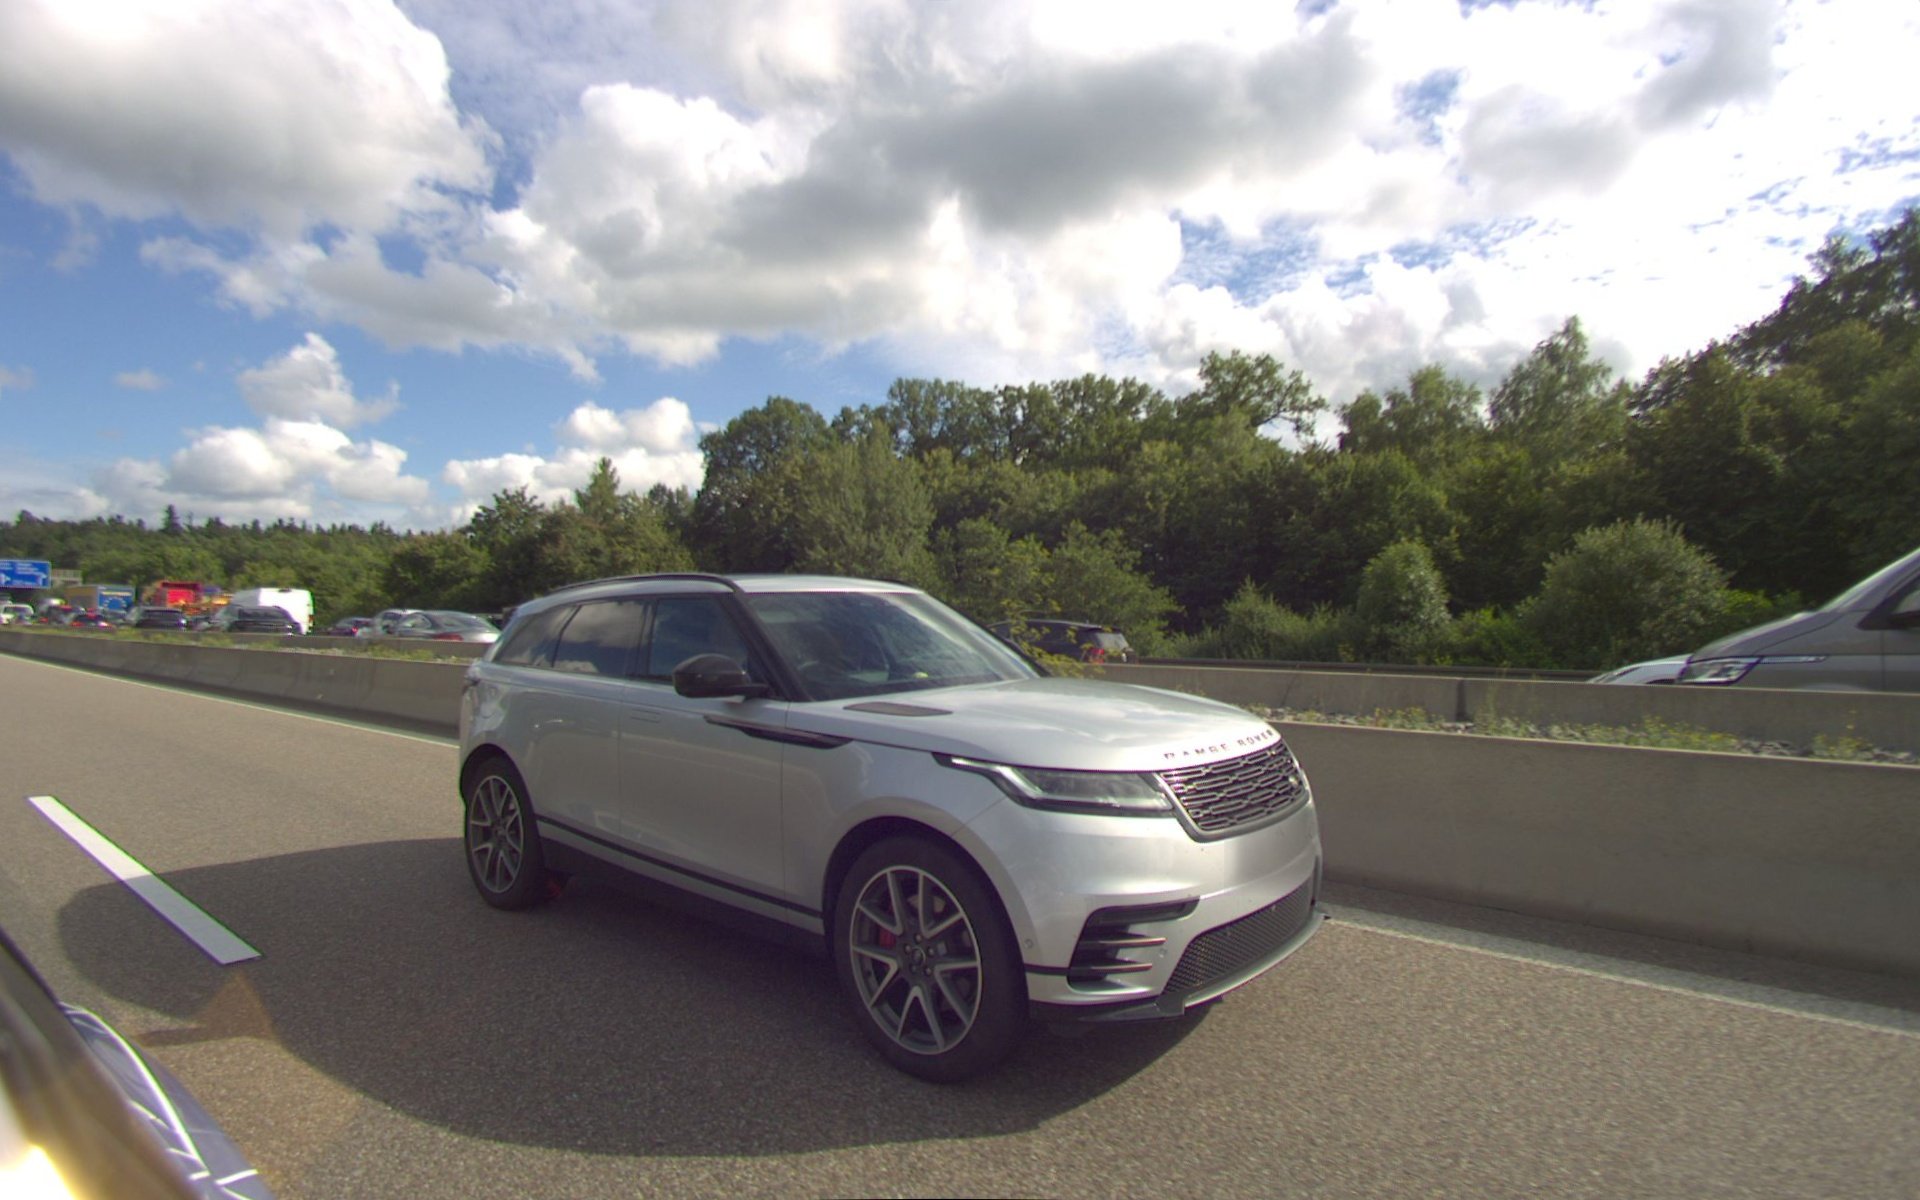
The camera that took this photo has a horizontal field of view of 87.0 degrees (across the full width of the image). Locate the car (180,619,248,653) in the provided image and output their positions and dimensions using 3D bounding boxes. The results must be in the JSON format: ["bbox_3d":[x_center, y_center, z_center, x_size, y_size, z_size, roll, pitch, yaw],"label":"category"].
[{"bbox_3d":[-38.019,1.793,51.523,4.426,1.547,1.972,1,1,42],"label":"car"}]

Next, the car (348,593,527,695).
[{"bbox_3d":[-11.730,0.923,22.547,5.090,2.029,1.885,-1,-2,42],"label":"car"}]

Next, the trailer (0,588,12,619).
[{"bbox_3d":[-131.358,0.348,136.943,15.997,4.004,2.801,1,1,41],"label":"trailer"}]

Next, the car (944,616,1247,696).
[{"bbox_3d":[1.891,0.755,14.833,3.999,0.977,1.972,-1,-1,42],"label":"car"}]

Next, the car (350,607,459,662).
[{"bbox_3d":[-18.294,1.064,33.256,3.999,1.608,1.972,1,1,42],"label":"car"}]

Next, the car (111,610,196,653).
[{"bbox_3d":[-32.327,1.256,40.526,4.286,1.603,1.817,-1,-3,40],"label":"car"}]

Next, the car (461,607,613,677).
[{"bbox_3d":[-11.178,1.023,26.584,4.523,1.608,1.972,1,1,42],"label":"car"}]

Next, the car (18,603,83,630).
[{"bbox_3d":[-49.720,0.894,55.279,6.228,1.359,1.796,-1,0,40],"label":"car"}]

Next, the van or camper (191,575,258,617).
[{"bbox_3d":[-57.097,-0.271,78.466,7.190,3.100,2.546,0,0,40],"label":"van or camper"}]

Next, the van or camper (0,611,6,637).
[{"bbox_3d":[-109.376,2.684,114.158,5.749,2.731,2.024,1,1,42],"label":"van or camper"}]

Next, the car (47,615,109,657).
[{"bbox_3d":[-43.130,1.711,49.450,4.293,1.829,1.670,1,1,40],"label":"car"}]

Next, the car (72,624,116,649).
[{"bbox_3d":[-57.411,2.394,67.070,3.997,1.603,1.619,-1,0,40],"label":"car"}]

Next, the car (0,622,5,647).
[{"bbox_3d":[-74.485,2.630,77.371,4.293,1.829,1.670,1,1,40],"label":"car"}]

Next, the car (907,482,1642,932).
[{"bbox_3d":[1.776,0.505,6.451,3.999,1.935,1.972,-2,-1,42],"label":"car"}]

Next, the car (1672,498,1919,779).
[{"bbox_3d":[7.005,0.188,5.591,4.814,1.584,1.972,-1,-1,42],"label":"car"}]

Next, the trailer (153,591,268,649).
[{"bbox_3d":[-47.911,1.282,64.395,14.208,3.361,2.700,-1,-1,40],"label":"trailer"}]

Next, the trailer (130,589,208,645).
[{"bbox_3d":[-67.826,1.264,86.612,14.037,4.150,2.780,2,2,41],"label":"trailer"}]

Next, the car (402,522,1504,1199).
[{"bbox_3d":[-0.546,0.651,4.653,5.102,1.619,1.880,0,-1,41],"label":"car"}]

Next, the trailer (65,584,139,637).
[{"bbox_3d":[-74.886,0.771,88.214,13.650,4.266,2.743,1,1,40],"label":"trailer"}]

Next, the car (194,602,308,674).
[{"bbox_3d":[-21.605,1.113,30.778,4.518,2.029,1.862,-1,-2,42],"label":"car"}]

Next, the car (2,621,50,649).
[{"bbox_3d":[-57.547,2.150,62.328,3.997,1.615,1.706,-1,0,40],"label":"car"}]

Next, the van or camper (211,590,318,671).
[{"bbox_3d":[-29.430,1.229,42.731,6.239,3.196,2.117,-1,0,40],"label":"van or camper"}]

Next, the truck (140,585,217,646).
[{"bbox_3d":[-53.226,1.021,68.885,6.847,3.968,2.748,-1,-1,40],"label":"truck"}]

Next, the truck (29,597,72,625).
[{"bbox_3d":[-94.044,1.133,104.611,7.944,2.822,2.304,-1,1,41],"label":"truck"}]

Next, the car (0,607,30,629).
[{"bbox_3d":[-65.368,1.206,69.326,5.485,1.364,1.831,1,1,40],"label":"car"}]

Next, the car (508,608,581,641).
[{"bbox_3d":[-21.271,1.262,51.773,4.001,1.603,1.817,-1,-3,40],"label":"car"}]

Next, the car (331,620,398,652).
[{"bbox_3d":[-32.911,1.973,55.877,4.426,1.547,1.972,1,1,42],"label":"car"}]

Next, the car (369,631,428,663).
[{"bbox_3d":[-41.504,3.425,74.730,6.326,2.029,1.865,1,1,42],"label":"car"}]

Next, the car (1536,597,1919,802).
[{"bbox_3d":[8.455,0.851,9.716,4.761,1.746,1.972,-1,-1,42],"label":"car"}]

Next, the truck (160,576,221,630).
[{"bbox_3d":[-62.178,0.277,81.721,5.448,4.181,2.783,-1,-1,40],"label":"truck"}]
